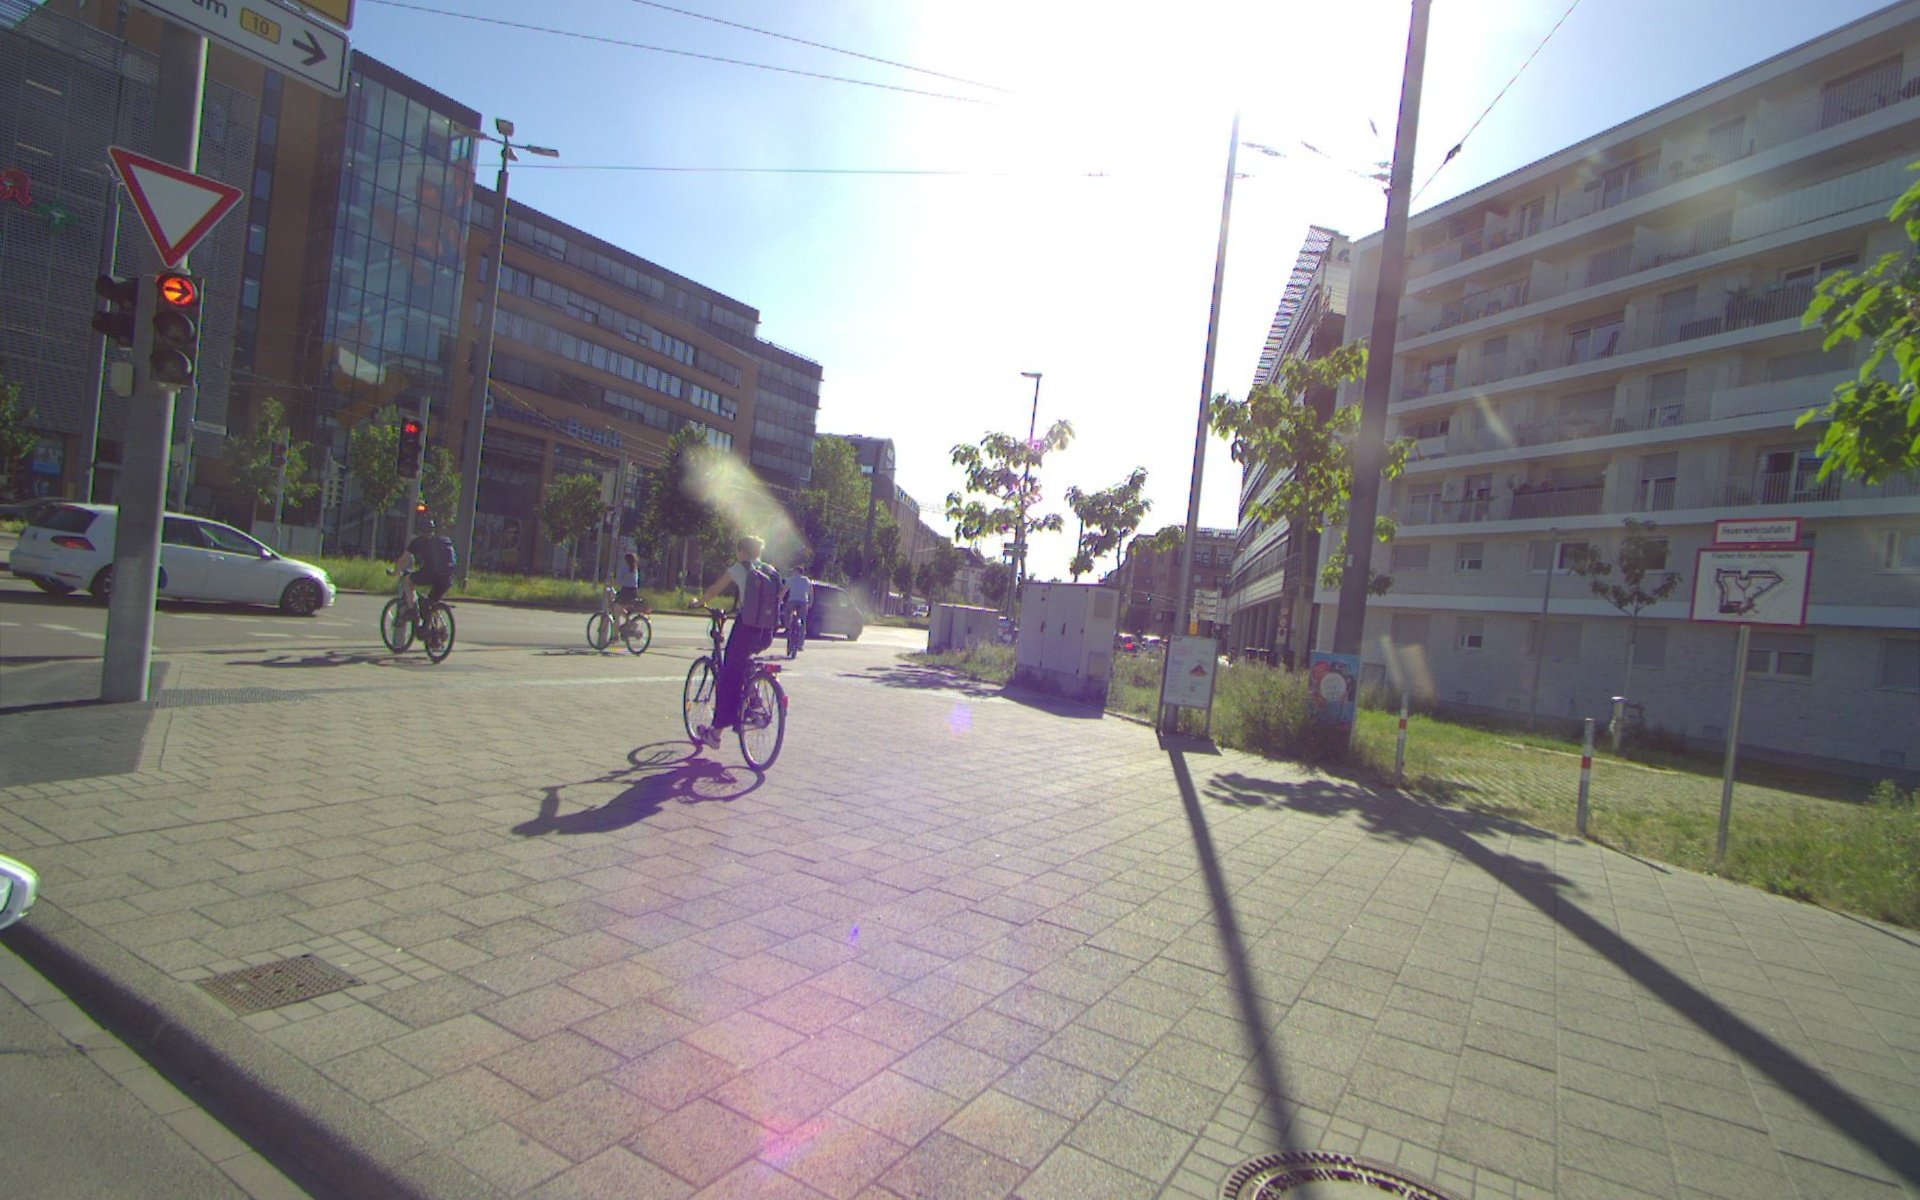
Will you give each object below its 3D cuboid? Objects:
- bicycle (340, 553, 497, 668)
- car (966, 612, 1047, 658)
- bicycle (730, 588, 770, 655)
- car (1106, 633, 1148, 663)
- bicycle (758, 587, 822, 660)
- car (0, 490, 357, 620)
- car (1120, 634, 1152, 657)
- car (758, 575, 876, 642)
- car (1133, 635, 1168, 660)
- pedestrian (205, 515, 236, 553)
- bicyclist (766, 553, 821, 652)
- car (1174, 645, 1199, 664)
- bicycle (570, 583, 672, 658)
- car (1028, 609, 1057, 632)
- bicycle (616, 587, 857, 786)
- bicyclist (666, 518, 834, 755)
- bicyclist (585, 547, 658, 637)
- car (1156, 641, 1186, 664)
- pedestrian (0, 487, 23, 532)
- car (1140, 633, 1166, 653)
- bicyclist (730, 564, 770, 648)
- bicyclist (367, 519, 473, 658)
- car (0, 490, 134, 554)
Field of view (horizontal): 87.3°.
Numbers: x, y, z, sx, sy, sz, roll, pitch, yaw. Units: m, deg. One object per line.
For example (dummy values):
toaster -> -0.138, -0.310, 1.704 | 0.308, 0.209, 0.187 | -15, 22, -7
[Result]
bicycle -> -6.928, 0.123, 12.841 | 2.117, 1.212, 0.637 | 6, 0, 29
car -> 2.075, 1.541, 43.614 | 1.679, 1.531, 4.275 | 7, -2, 28
bicycle -> -4.716, 0.515, 22.499 | 0.705, 1.341, 1.748 | 5, -5, -13
car -> 10.294, 2.968, 61.749 | 1.675, 1.591, 4.874 | 7, -1, 18
bicycle -> -3.385, 0.474, 20.238 | 0.744, 1.316, 2.155 | 6, -1, 2
car -> -12.288, -0.622, 15.978 | 1.831, 1.490, 4.295 | 7, -1, 23
car -> 13.916, 3.625, 79.479 | 1.677, 1.515, 4.281 | 7, -2, 19
car -> -4.710, 0.343, 33.822 | 1.678, 1.813, 4.472 | 7, -1, 24
car -> 13.762, 3.449, 72.554 | 1.677, 1.515, 4.281 | 7, -2, 19
pedestrian -> -38.891, -3.446, 52.898 | 1.023, 1.852, 1.008 | 6, 2, -27
bicyclist -> -3.342, 0.057, 20.258 | 0.795, 1.888, 0.750 | 6, 0, 3
car -> 21.275, 5.132, 94.503 | 1.677, 1.515, 4.281 | 7, -2, 19
bicycle -> -5.856, 0.341, 17.319 | 1.792, 1.085, 0.667 | 6, 0, 36
car -> 7.067, 1.795, 85.594 | 1.615, 1.665, 3.704 | 7, -1, 15
bicycle -> -1.787, 0.604, 7.772 | 2.127, 1.212, 0.665 | 6, 0, 45
bicyclist -> -1.595, 0.262, 7.602 | 0.959, 1.649, 0.665 | 7, 0, 45
bicyclist -> -5.842, -0.141, 17.356 | 0.926, 1.453, 0.667 | 4, -1, 36
car -> 17.051, 4.246, 81.285 | 1.677, 1.515, 4.281 | 7, -2, 19
pedestrian -> -41.730, -3.977, 43.969 | 0.834, 1.850, 0.949 | 3, -1, 37
car -> 18.151, 4.035, 94.542 | 1.677, 1.515, 4.281 | 7, -2, 19
bicyclist -> -4.740, 0.166, 22.688 | 0.705, 1.743, 1.093 | 6, -5, -13
bicyclist -> -6.888, -0.145, 12.826 | 0.955, 1.649, 0.630 | 7, 0, 29
car -> -32.408, -2.803, 35.796 | 1.810, 1.484, 4.161 | 6, -5, 30
